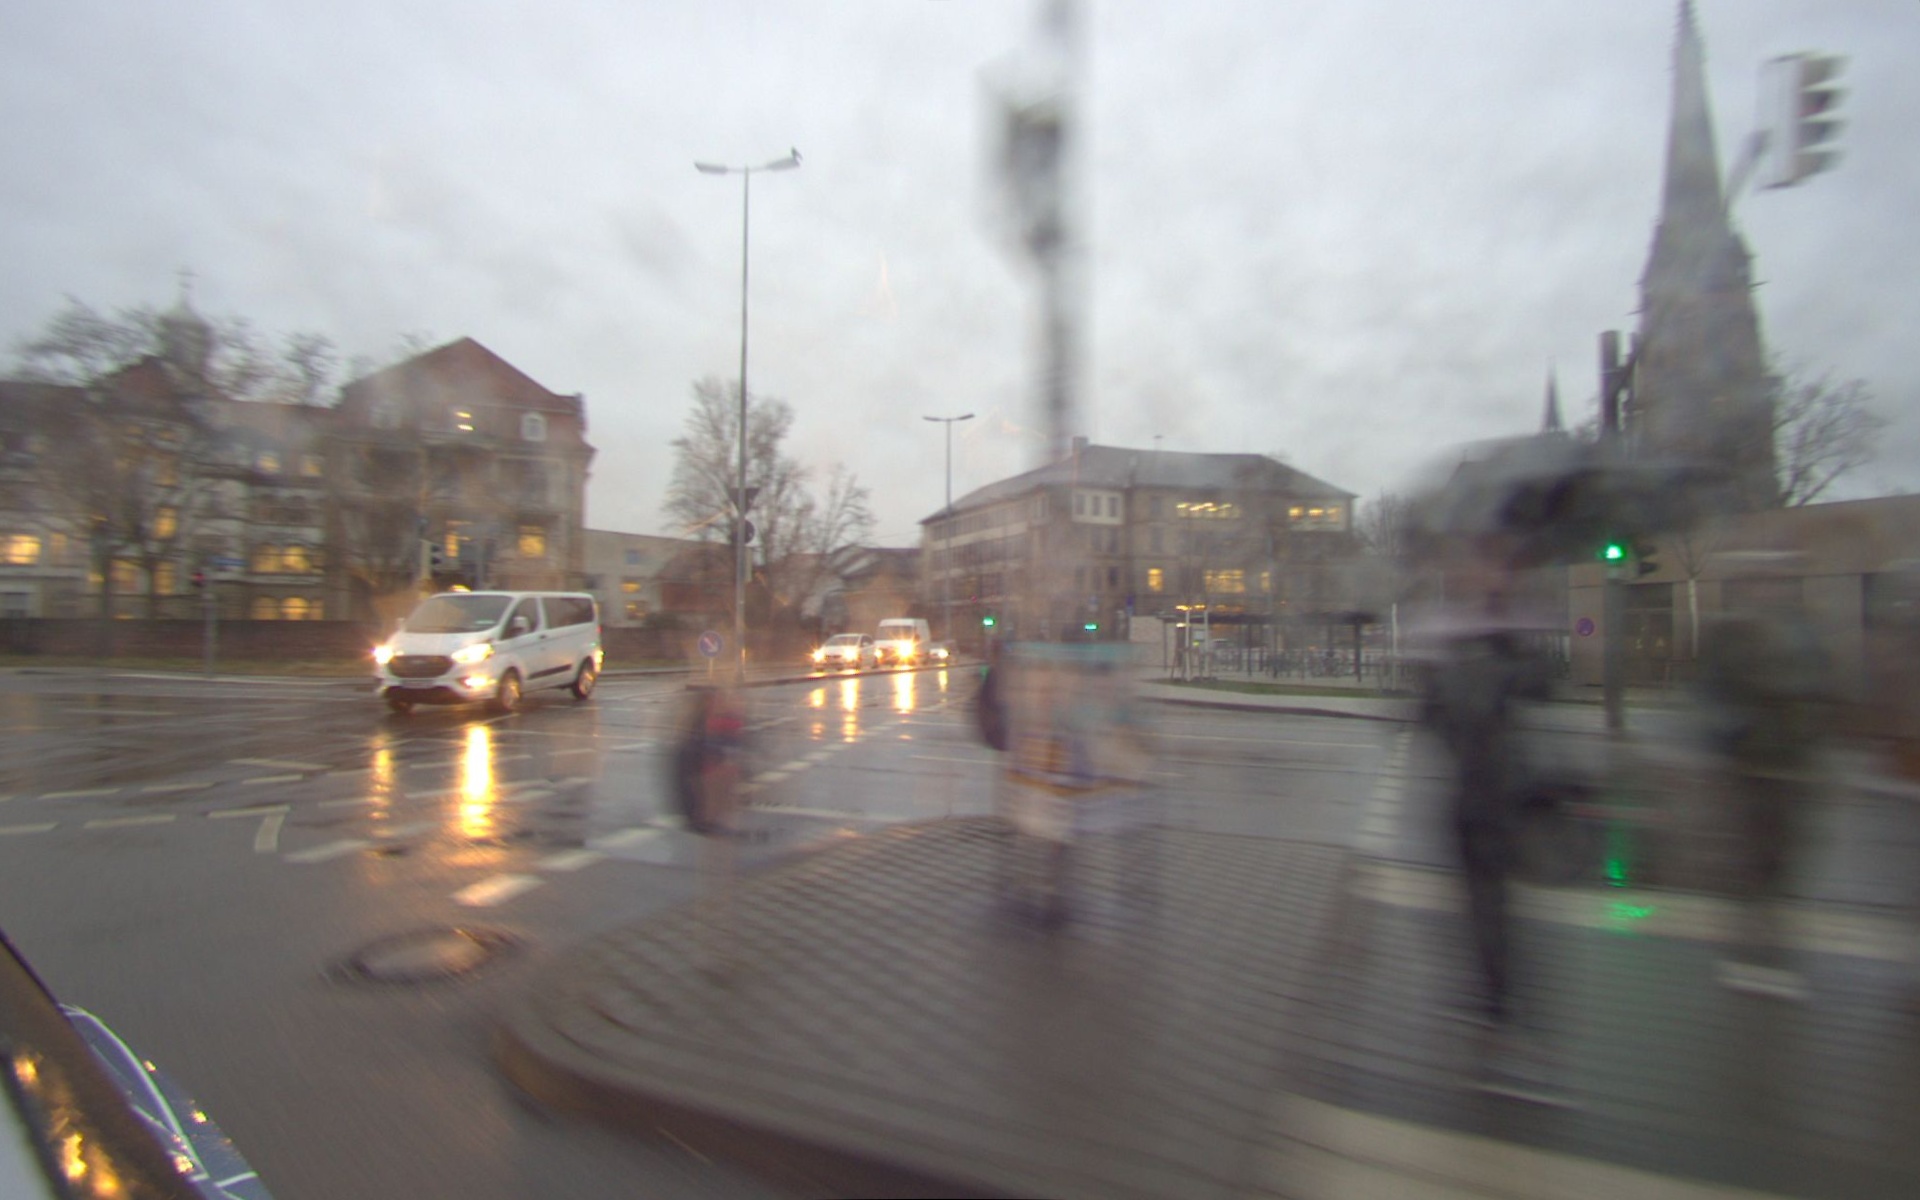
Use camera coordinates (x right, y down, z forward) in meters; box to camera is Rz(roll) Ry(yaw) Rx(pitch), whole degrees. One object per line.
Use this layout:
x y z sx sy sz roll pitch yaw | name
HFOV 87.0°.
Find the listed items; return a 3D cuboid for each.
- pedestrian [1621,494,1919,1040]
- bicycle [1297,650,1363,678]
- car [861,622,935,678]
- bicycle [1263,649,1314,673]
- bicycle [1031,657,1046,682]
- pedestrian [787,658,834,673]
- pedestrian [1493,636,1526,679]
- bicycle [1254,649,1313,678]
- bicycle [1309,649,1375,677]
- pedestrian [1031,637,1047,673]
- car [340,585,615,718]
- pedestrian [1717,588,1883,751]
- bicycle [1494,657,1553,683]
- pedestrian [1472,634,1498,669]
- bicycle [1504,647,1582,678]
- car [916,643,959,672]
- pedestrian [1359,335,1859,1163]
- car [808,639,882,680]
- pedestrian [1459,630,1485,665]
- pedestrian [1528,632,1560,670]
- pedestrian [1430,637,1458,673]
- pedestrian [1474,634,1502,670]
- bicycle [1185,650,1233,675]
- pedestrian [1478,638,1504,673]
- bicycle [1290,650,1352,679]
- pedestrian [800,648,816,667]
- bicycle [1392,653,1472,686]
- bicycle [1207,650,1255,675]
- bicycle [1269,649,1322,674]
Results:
3.592 0.583 4.048 1.055 1.872 1.036 -2 -3 -2 | pedestrian
15.424 2.694 42.313 0.636 1.113 2.759 0 -4 -31 | bicycle
-2.994 2.512 50.521 2.322 2.537 5.849 -3 -3 10 | car
16.025 2.973 49.439 0.636 1.113 2.759 -1 -4 -24 | bicycle
3.865 3.394 49.757 0.617 1.185 1.868 1 -3 7 | bicycle
-10.480 4.573 70.957 3.046 0.937 0.951 -1 -4 -20 | pedestrian
22.599 2.350 41.625 0.807 1.693 0.846 -4 -2 10 | pedestrian
13.050 2.590 40.960 0.636 1.113 2.759 -1 -4 -21 | bicycle
16.086 2.654 42.704 0.636 1.113 2.759 0 -3 -30 | bicycle
3.896 2.723 49.879 0.709 1.747 0.980 1 -3 7 | pedestrian
-8.127 0.917 17.722 2.111 1.936 5.008 -2 -3 5 | car
10.213 0.847 12.382 1.228 1.872 1.026 -4 -4 27 | pedestrian
20.298 2.526 36.503 0.596 0.878 1.870 2 -3 -25 | bicycle
28.497 2.780 54.981 1.024 1.864 0.845 0 -3 10 | pedestrian
22.392 2.417 38.956 0.636 1.113 2.759 -1 -4 -22 | bicycle
-1.296 3.462 61.252 1.818 1.656 4.804 0 -3 8 | car
1.969 0.400 3.313 1.030 2.065 1.204 -4 -4 26 | pedestrian
-4.597 2.407 41.081 1.737 1.515 4.301 -3 -3 11 | car
28.296 2.631 55.943 1.024 1.864 0.845 0 -3 10 | pedestrian
29.520 2.560 51.170 1.024 1.864 0.845 -3 -3 10 | pedestrian
27.047 3.075 56.543 1.038 1.864 0.846 -5 -4 9 | pedestrian
28.204 2.768 54.090 1.024 1.864 0.845 -3 -3 10 | pedestrian
11.600 2.953 47.317 0.636 1.113 2.759 -1 -4 -22 | bicycle
28.372 2.970 54.101 1.024 1.864 0.800 0 -3 10 | pedestrian
14.537 2.615 40.819 0.636 1.113 2.759 -1 -4 -21 | bicycle
-10.654 4.009 70.957 0.965 1.327 0.817 2 -3 -20 | pedestrian
16.909 2.467 36.345 0.597 1.113 2.759 0 -3 -28 | bicycle
12.723 2.970 47.659 0.636 1.113 2.759 -1 -4 -22 | bicycle
15.650 2.893 47.302 0.636 1.113 2.759 -1 -4 -22 | bicycle
